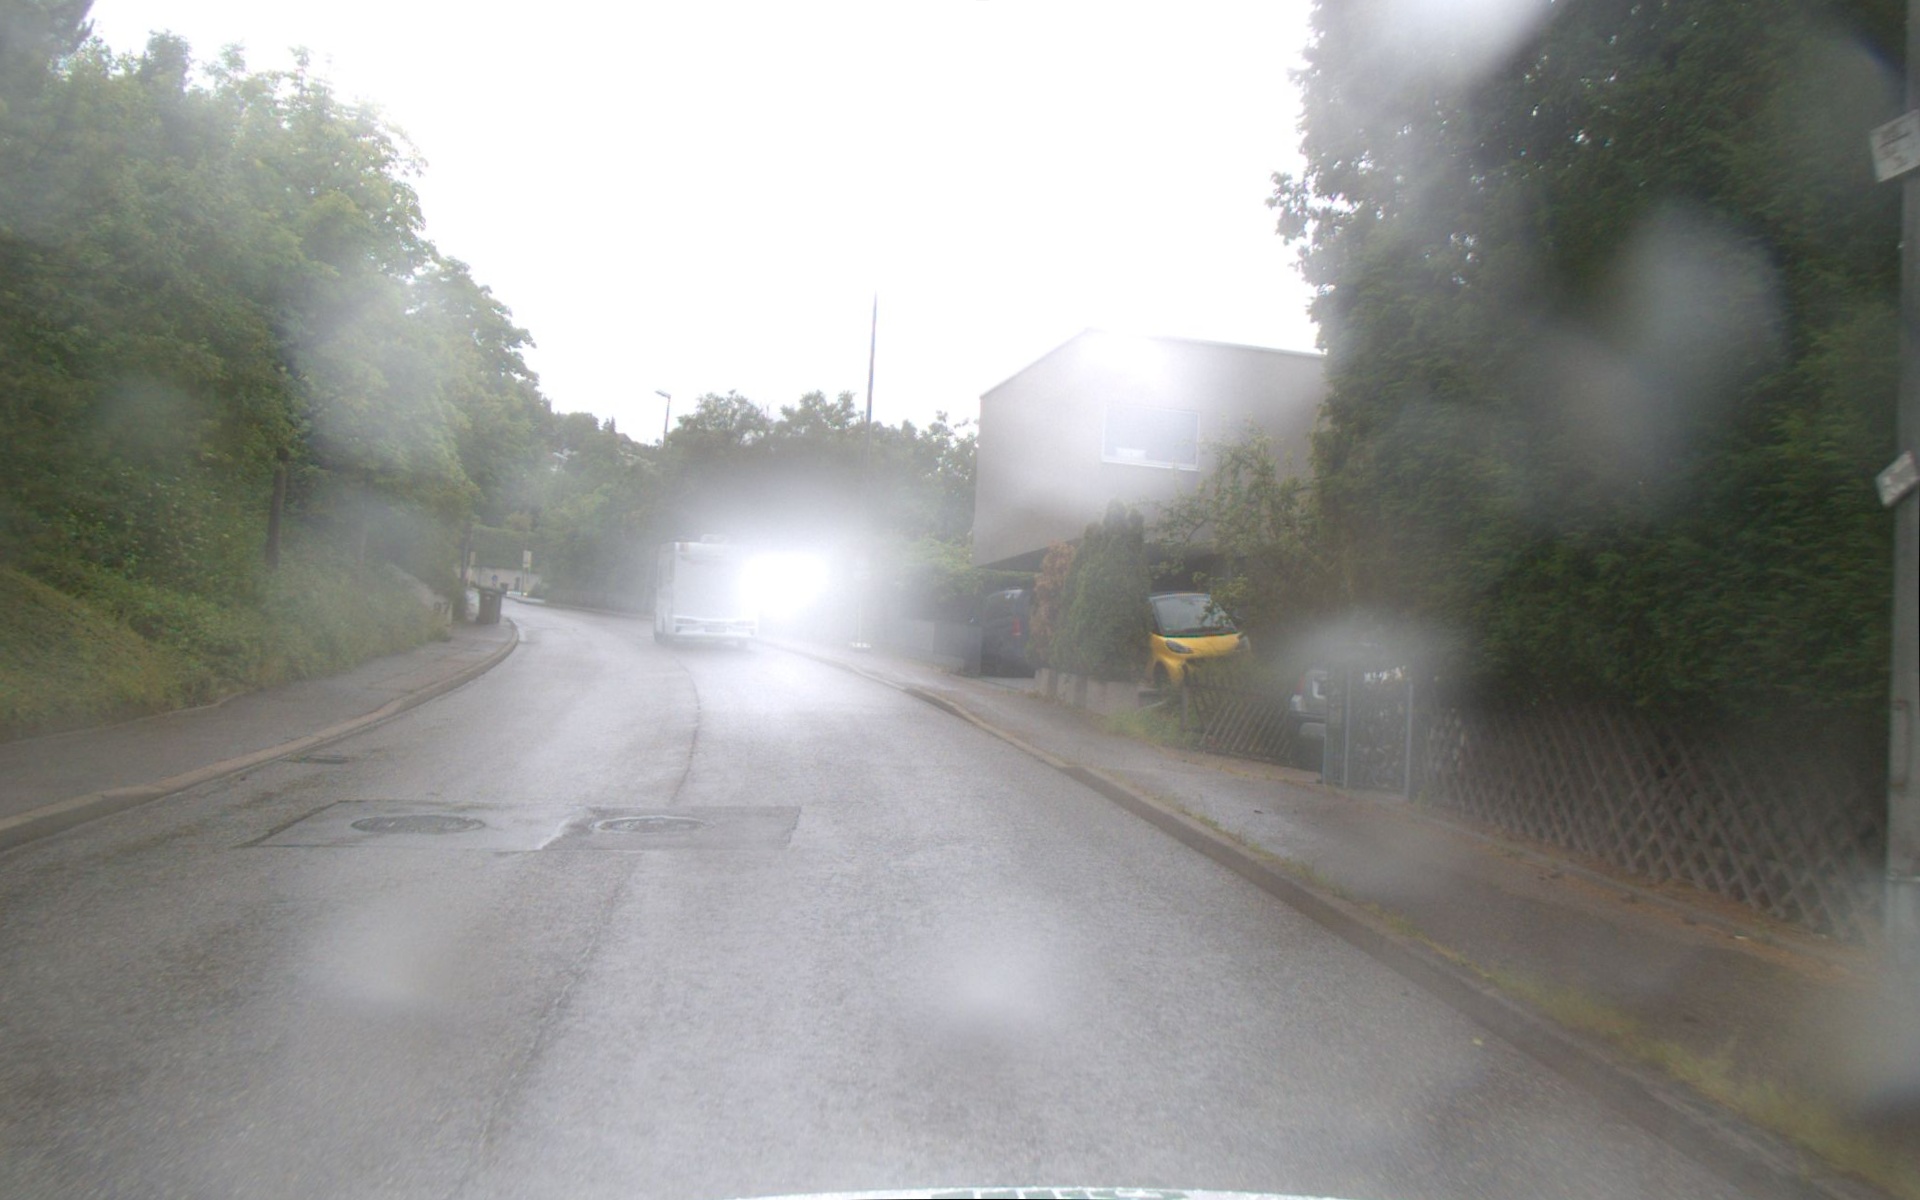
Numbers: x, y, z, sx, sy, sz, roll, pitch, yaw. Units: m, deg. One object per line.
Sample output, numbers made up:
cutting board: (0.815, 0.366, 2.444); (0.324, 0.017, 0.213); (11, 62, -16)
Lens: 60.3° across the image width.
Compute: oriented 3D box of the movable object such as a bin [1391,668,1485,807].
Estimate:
movable object such as a bin: (4.203, 1.200, 14.563); (0.495, 1.136, 0.593); (5, -1, -9)

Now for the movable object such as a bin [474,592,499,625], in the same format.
movable object such as a bin: (-13.793, 0.254, 48.179); (0.637, 0.927, 0.670); (3, 0, -16)

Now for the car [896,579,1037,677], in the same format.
car: (0.059, 0.685, 36.387); (1.960, 1.975, 4.754); (2, -3, -14)

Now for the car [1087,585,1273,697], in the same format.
car: (3.336, 0.599, 25.671); (1.601, 1.519, 3.412); (-3, 1, -16)

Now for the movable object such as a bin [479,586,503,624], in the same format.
movable object such as a bin: (-13.911, 0.152, 49.048); (0.637, 1.099, 0.670); (3, 0, -16)

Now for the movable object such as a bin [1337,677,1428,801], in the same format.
movable object such as a bin: (3.677, 1.200, 14.423); (0.495, 0.986, 0.593); (5, -1, -9)

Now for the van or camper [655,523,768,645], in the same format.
van or camper: (-6.730, -0.368, 44.226); (2.496, 2.976, 5.928); (2, -1, -13)

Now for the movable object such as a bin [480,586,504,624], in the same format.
movable object such as a bin: (-14.066, 0.145, 49.716); (0.637, 1.123, 0.670); (3, 0, -16)

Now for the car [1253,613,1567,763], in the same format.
car: (5.595, 1.091, 20.455); (3.728, 1.690, 1.755); (2, -4, -34)
